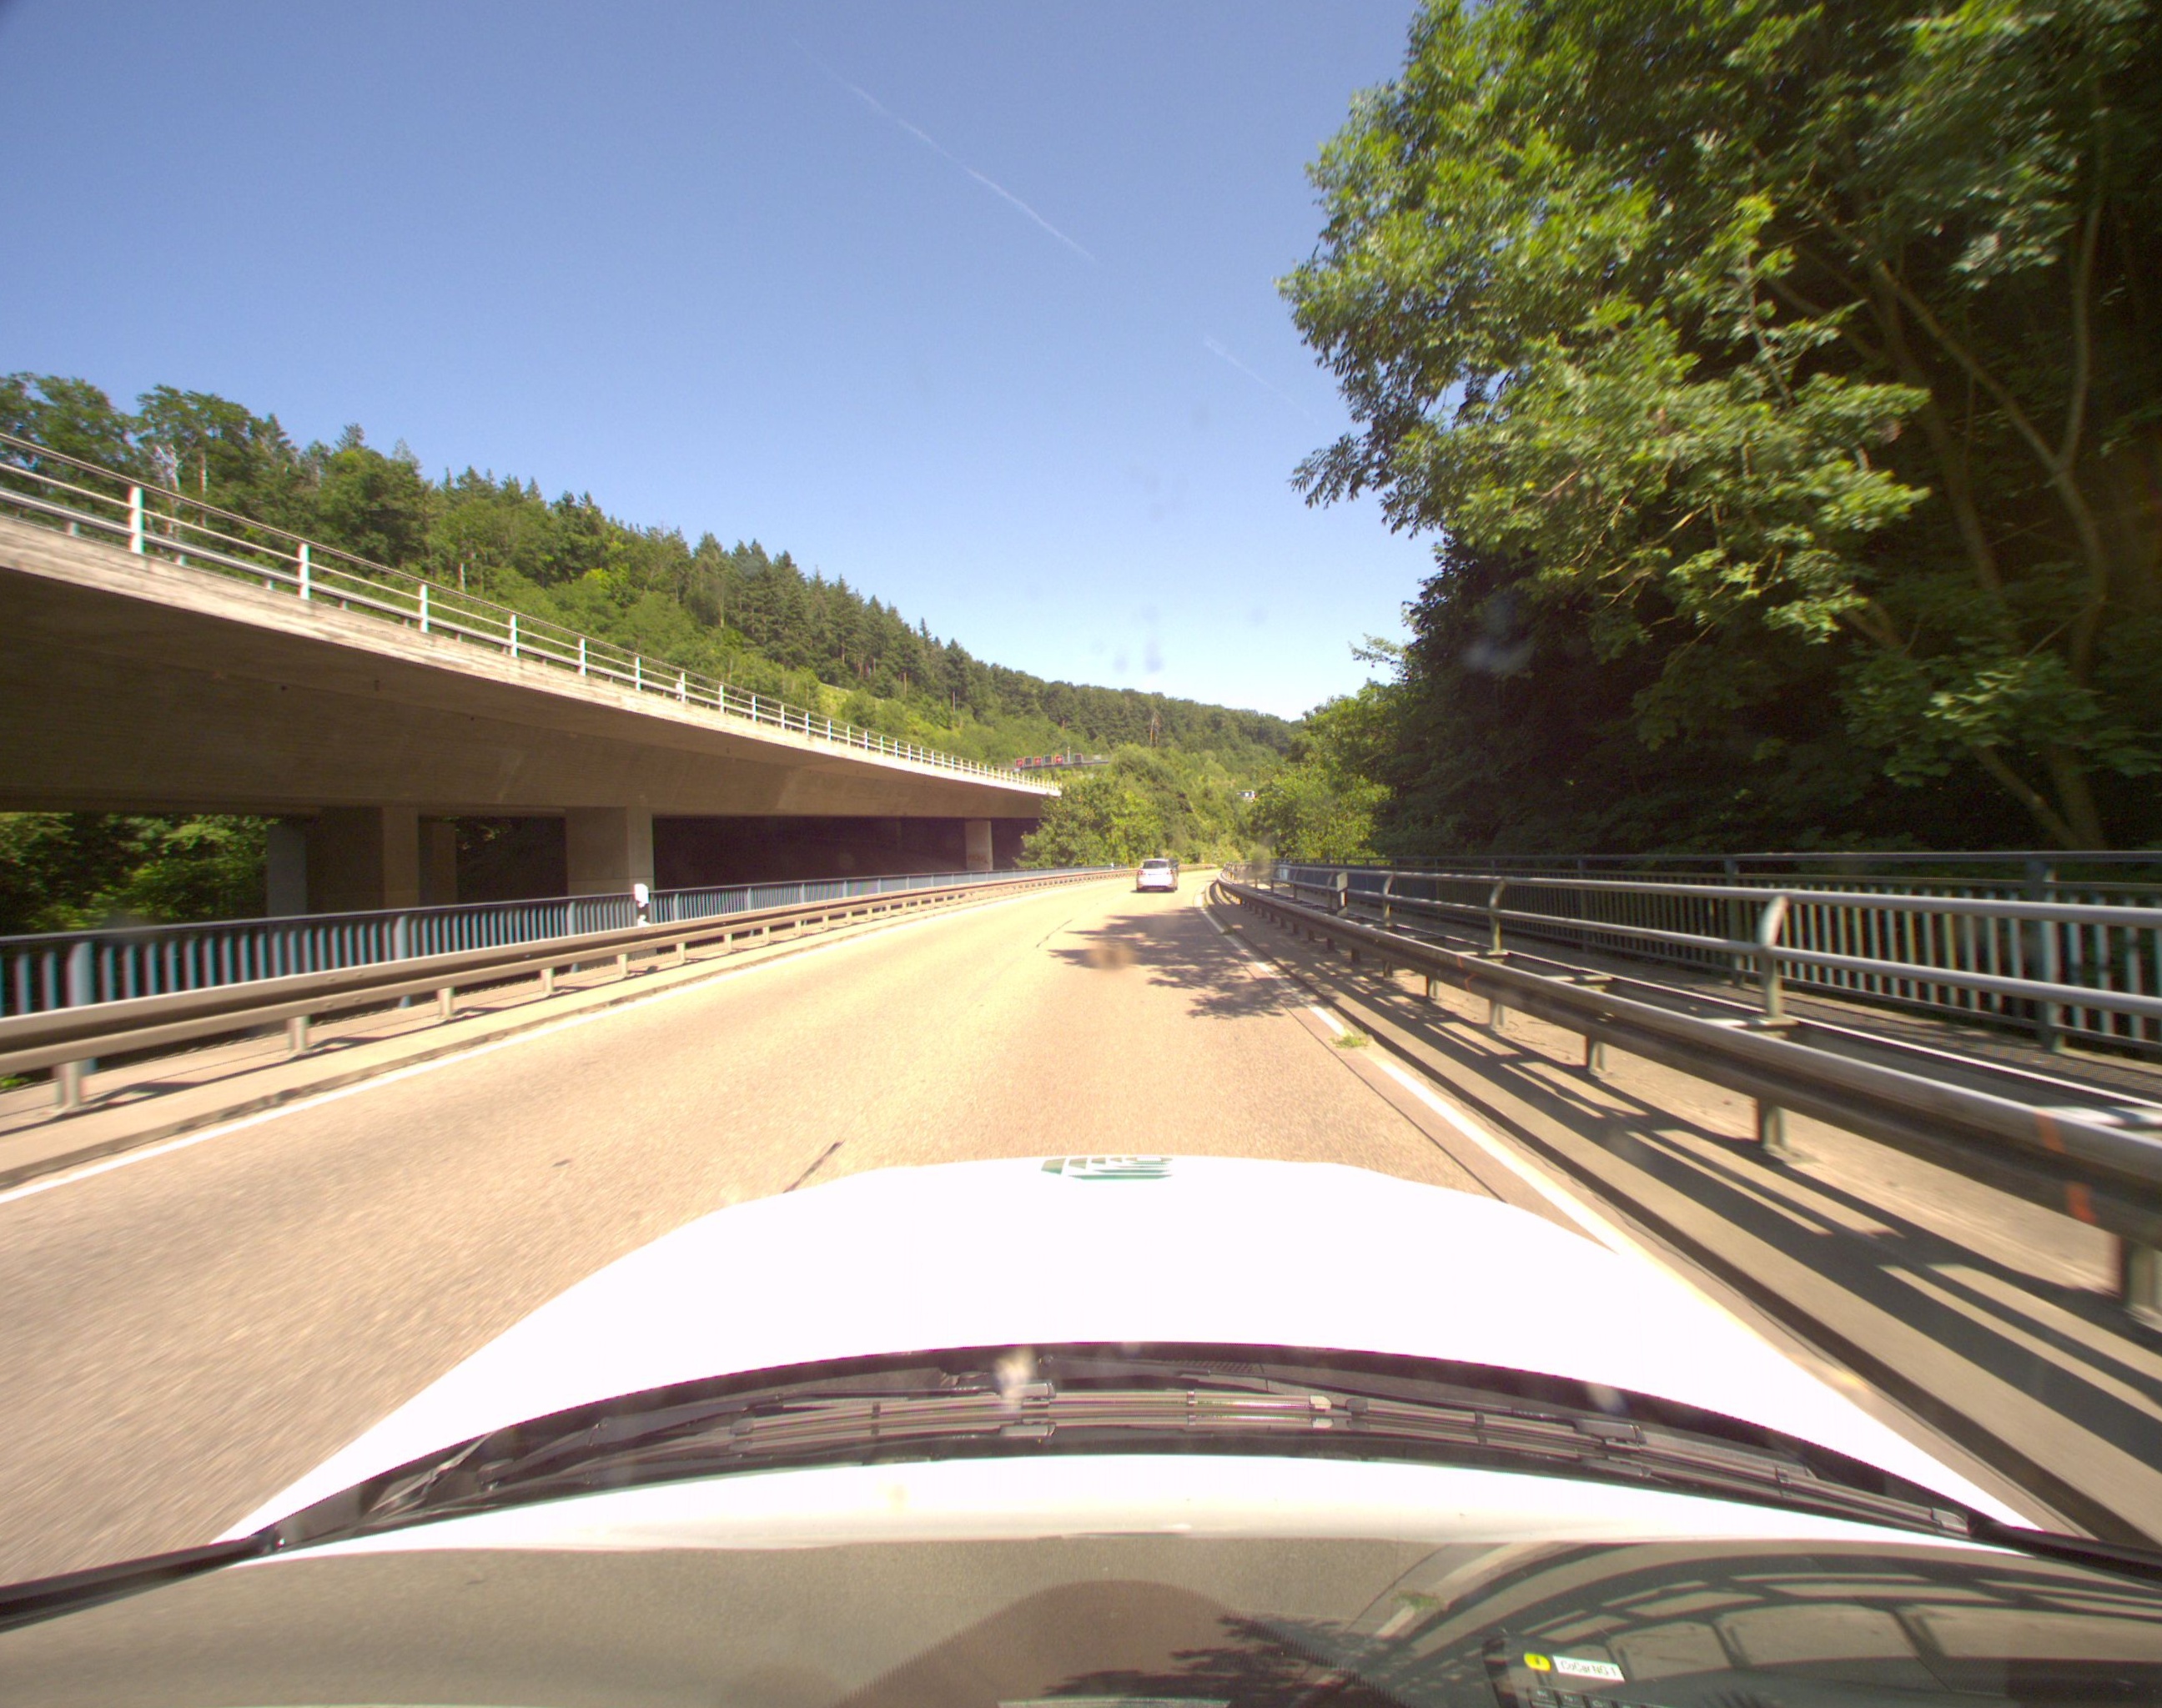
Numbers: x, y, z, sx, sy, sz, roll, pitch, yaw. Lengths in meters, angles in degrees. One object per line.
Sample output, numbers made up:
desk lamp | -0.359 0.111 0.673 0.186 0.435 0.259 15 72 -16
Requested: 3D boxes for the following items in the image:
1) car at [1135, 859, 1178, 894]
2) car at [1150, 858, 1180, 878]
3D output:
car | 3.568 1.003 38.100 1.741 1.520 4.169 -1 -1 8
car | 7.201 1.172 69.259 1.885 1.581 4.571 -1 -1 14
